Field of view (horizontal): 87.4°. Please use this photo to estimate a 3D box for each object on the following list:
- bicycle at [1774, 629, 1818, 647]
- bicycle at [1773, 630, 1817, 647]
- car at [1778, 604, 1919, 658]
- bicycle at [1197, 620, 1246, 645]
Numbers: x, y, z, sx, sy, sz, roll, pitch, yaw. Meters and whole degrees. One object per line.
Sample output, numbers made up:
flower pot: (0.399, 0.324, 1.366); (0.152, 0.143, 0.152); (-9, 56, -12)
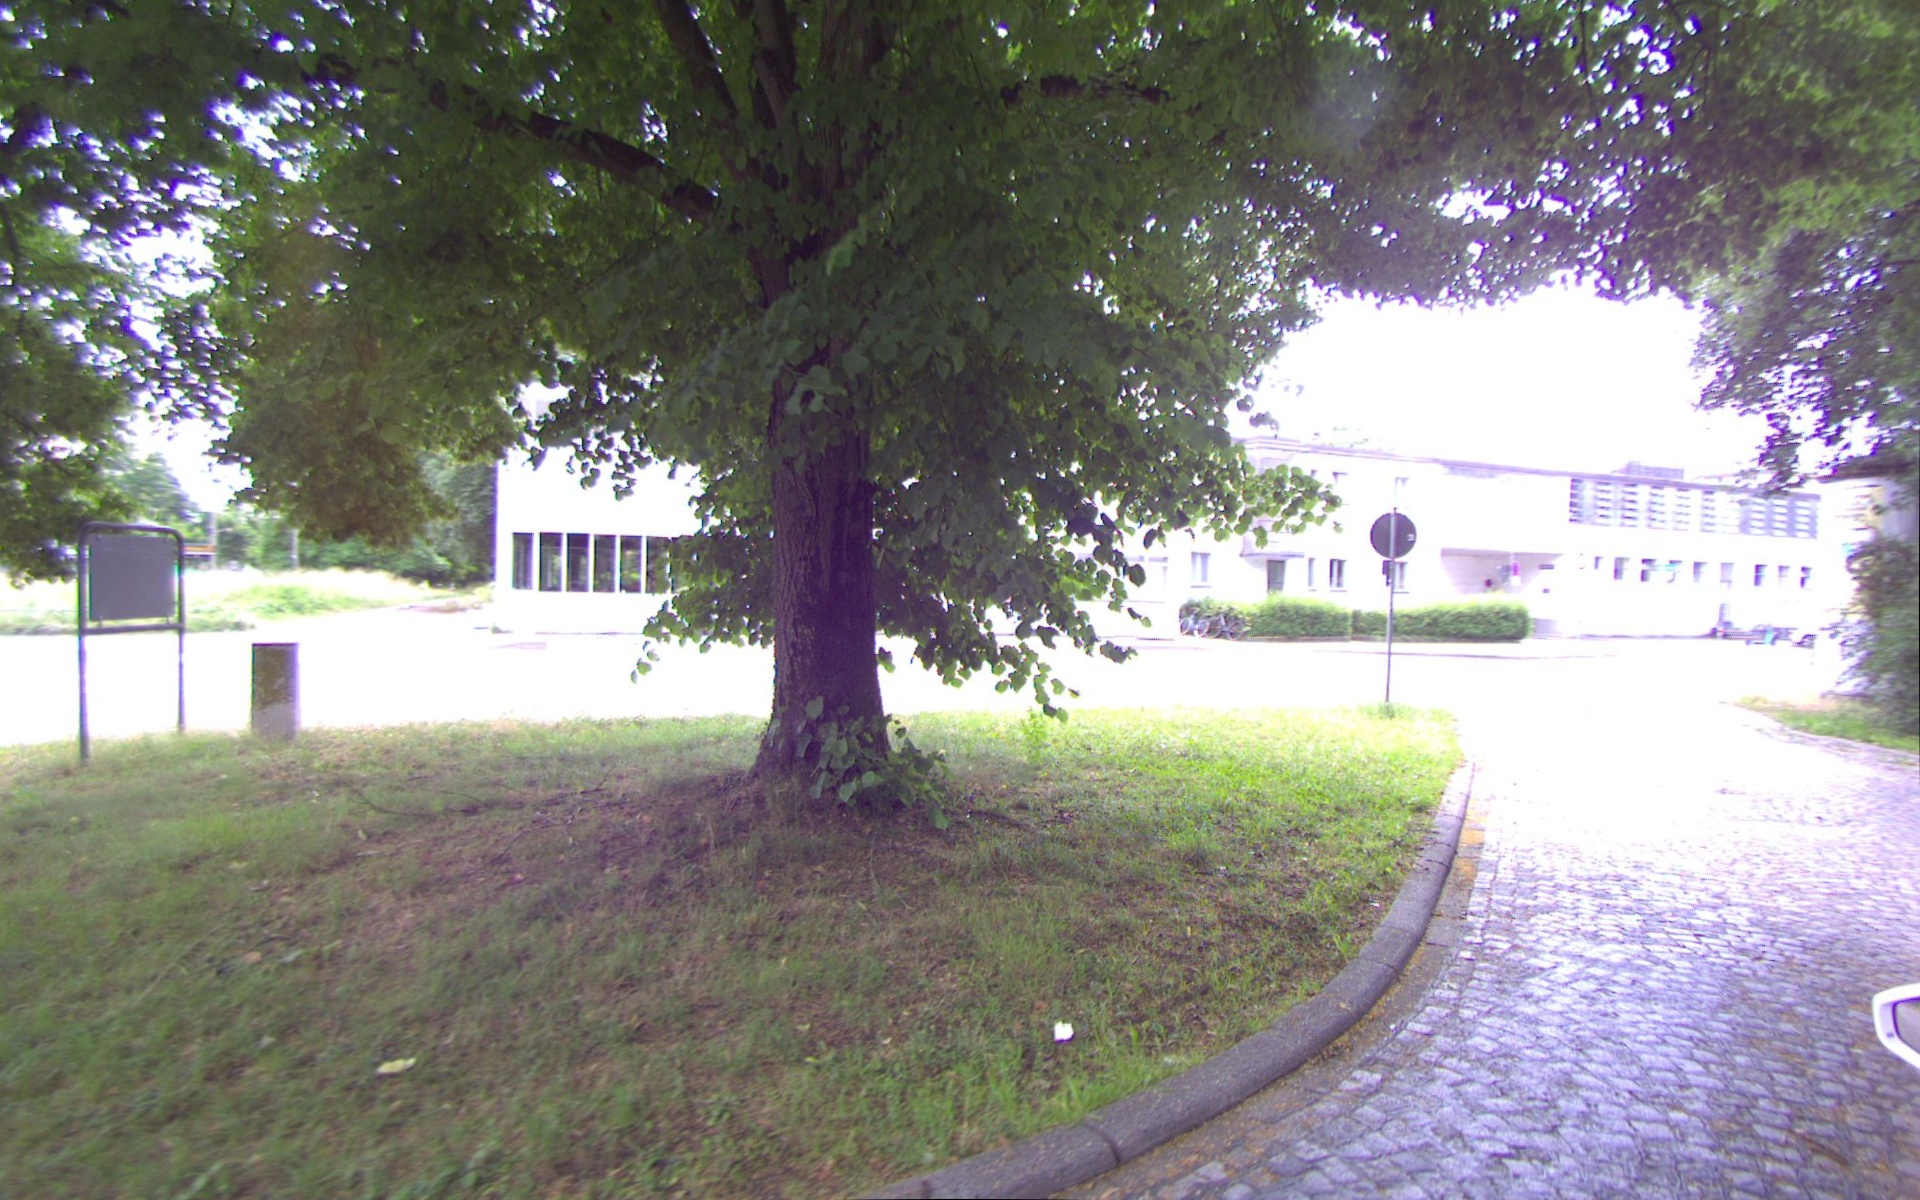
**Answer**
bicycle: (42.787, 1.940, 51.420); (1.651, 0.768, 0.567); (4, 2, 43)
bicycle: (42.188, 1.937, 50.742); (1.651, 0.768, 0.567); (4, 2, 43)
car: (38.188, 1.288, 42.891); (1.974, 2.040, 4.615); (3, 0, -26)
bicycle: (8.770, 1.067, 33.718); (0.407, 0.768, 1.656); (1, 1, -39)
